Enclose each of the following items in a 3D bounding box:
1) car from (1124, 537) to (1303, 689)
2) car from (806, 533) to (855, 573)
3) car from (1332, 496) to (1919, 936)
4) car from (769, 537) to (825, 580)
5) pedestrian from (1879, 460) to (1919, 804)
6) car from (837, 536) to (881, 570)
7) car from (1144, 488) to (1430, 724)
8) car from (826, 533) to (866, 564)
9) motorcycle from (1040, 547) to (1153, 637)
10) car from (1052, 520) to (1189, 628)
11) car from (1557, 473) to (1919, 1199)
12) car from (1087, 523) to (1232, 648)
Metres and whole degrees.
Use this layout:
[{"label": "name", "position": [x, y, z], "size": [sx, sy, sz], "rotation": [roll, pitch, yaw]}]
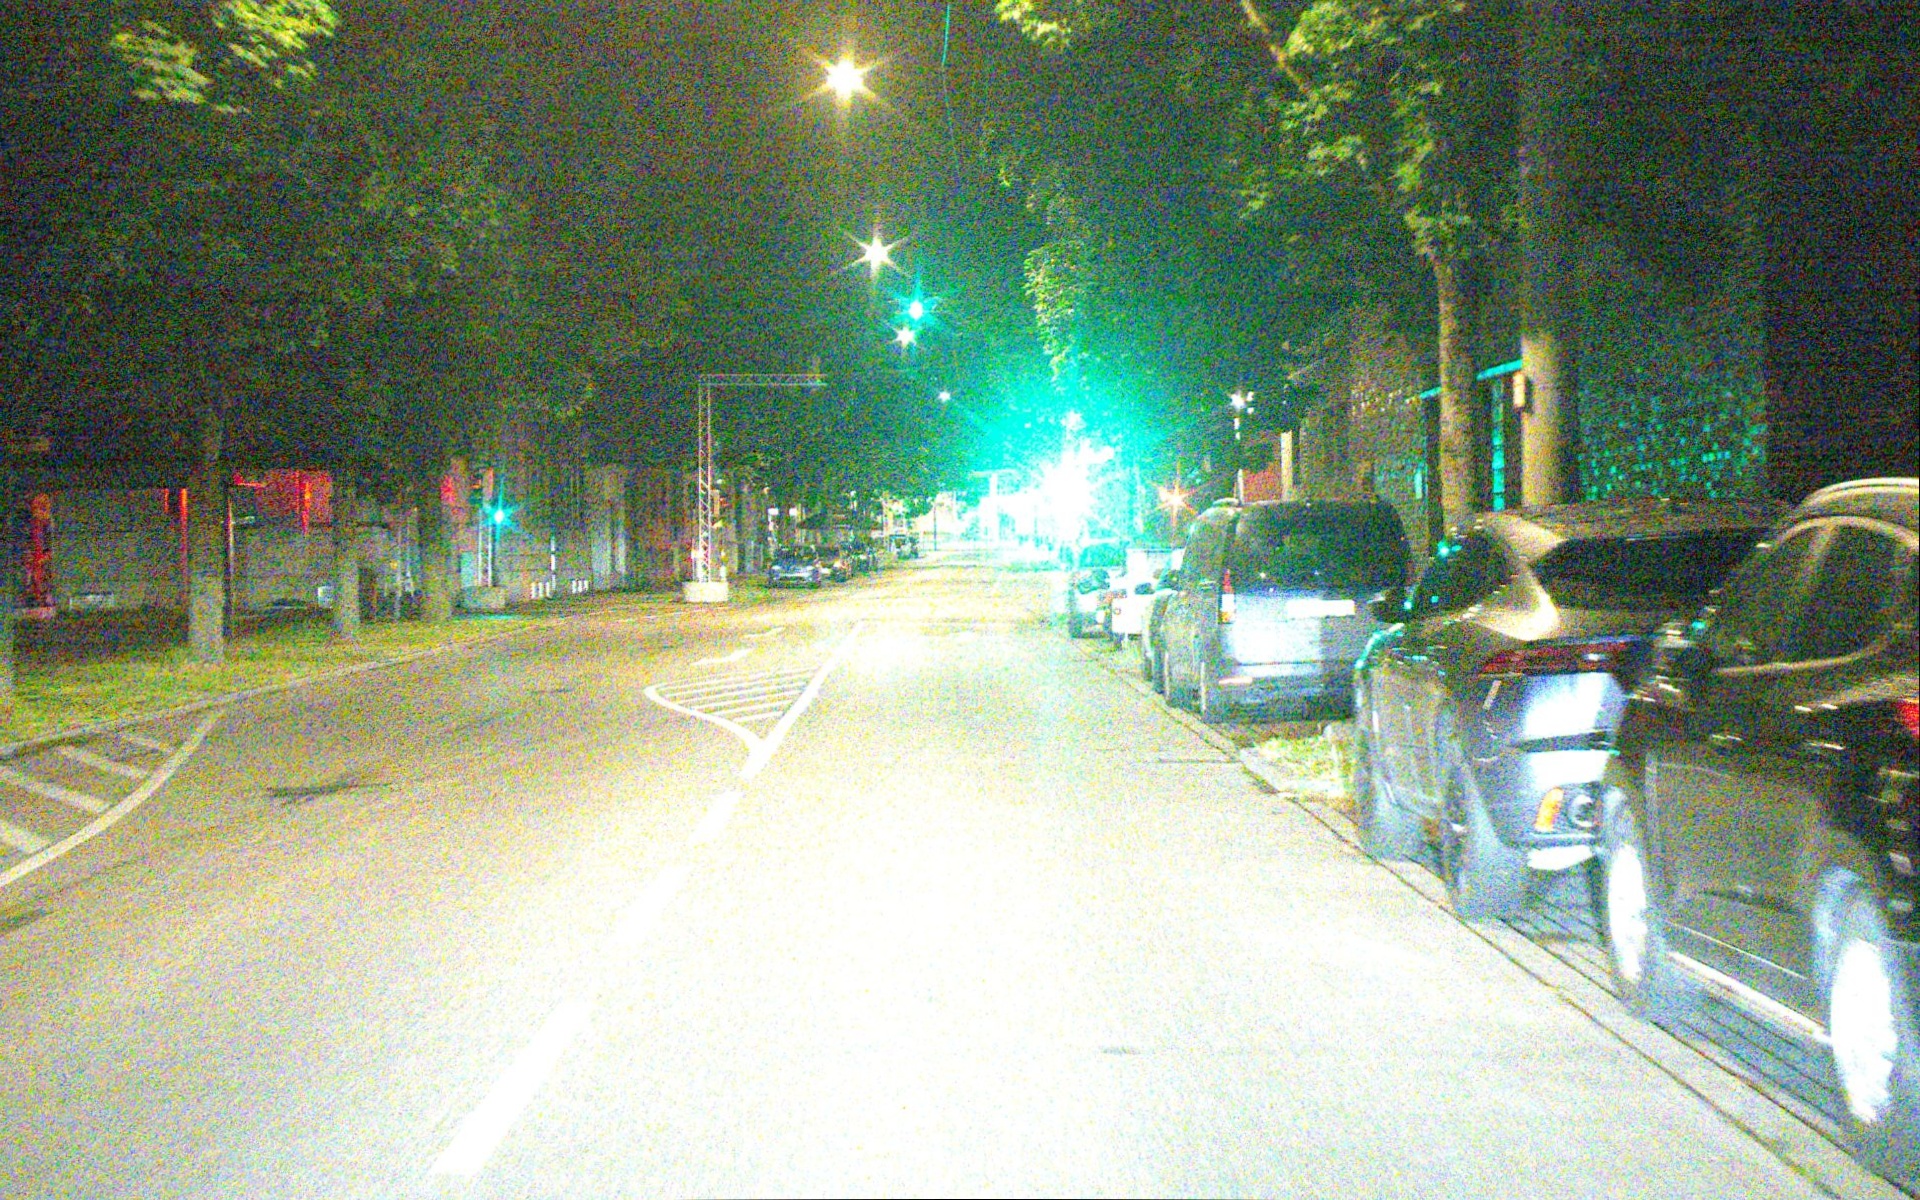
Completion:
[{"label": "car", "position": [2.530, 0.086, 35.028], "size": [1.520, 1.391, 3.984], "rotation": [-2, 1, 1]}, {"label": "car", "position": [-4.991, -1.826, 132.557], "size": [1.740, 1.411, 3.752], "rotation": [0, 3, 0]}, {"label": "car", "position": [2.795, 0.393, 14.945], "size": [1.853, 1.599, 4.209], "rotation": [-1, 1, 0]}, {"label": "car", "position": [-5.543, -1.432, 117.228], "size": [1.740, 1.411, 3.752], "rotation": [0, 1, 0]}, {"label": "pedestrian", "position": [5.112, 0.145, 17.291], "size": [0.705, 1.716, 0.821], "rotation": [-2, 1, 0]}, {"label": "car", "position": [-4.305, -2.017, 146.757], "size": [1.740, 1.411, 3.752], "rotation": [0, 1, 0]}, {"label": "car", "position": [2.720, 0.001, 29.464], "size": [1.771, 1.800, 4.278], "rotation": [-2, 1, -3]}, {"label": "car", "position": [-5.286, -2.418, 160.289], "size": [1.740, 1.411, 3.752], "rotation": [0, 1, 0]}, {"label": "motorcycle", "position": [1.989, -0.133, 49.779], "size": [0.637, 1.265, 2.060], "rotation": [0, 1, 35]}, {"label": "car", "position": [2.466, -0.435, 53.683], "size": [1.853, 1.584, 4.301], "rotation": [-1, 1, -1]}, {"label": "car", "position": [2.992, 0.466, 9.434], "size": [1.853, 1.648, 4.209], "rotation": [-2, 1, -1]}, {"label": "car", "position": [2.647, -0.232, 46.318], "size": [1.591, 1.529, 4.138], "rotation": [-2, 1, -1]}]
